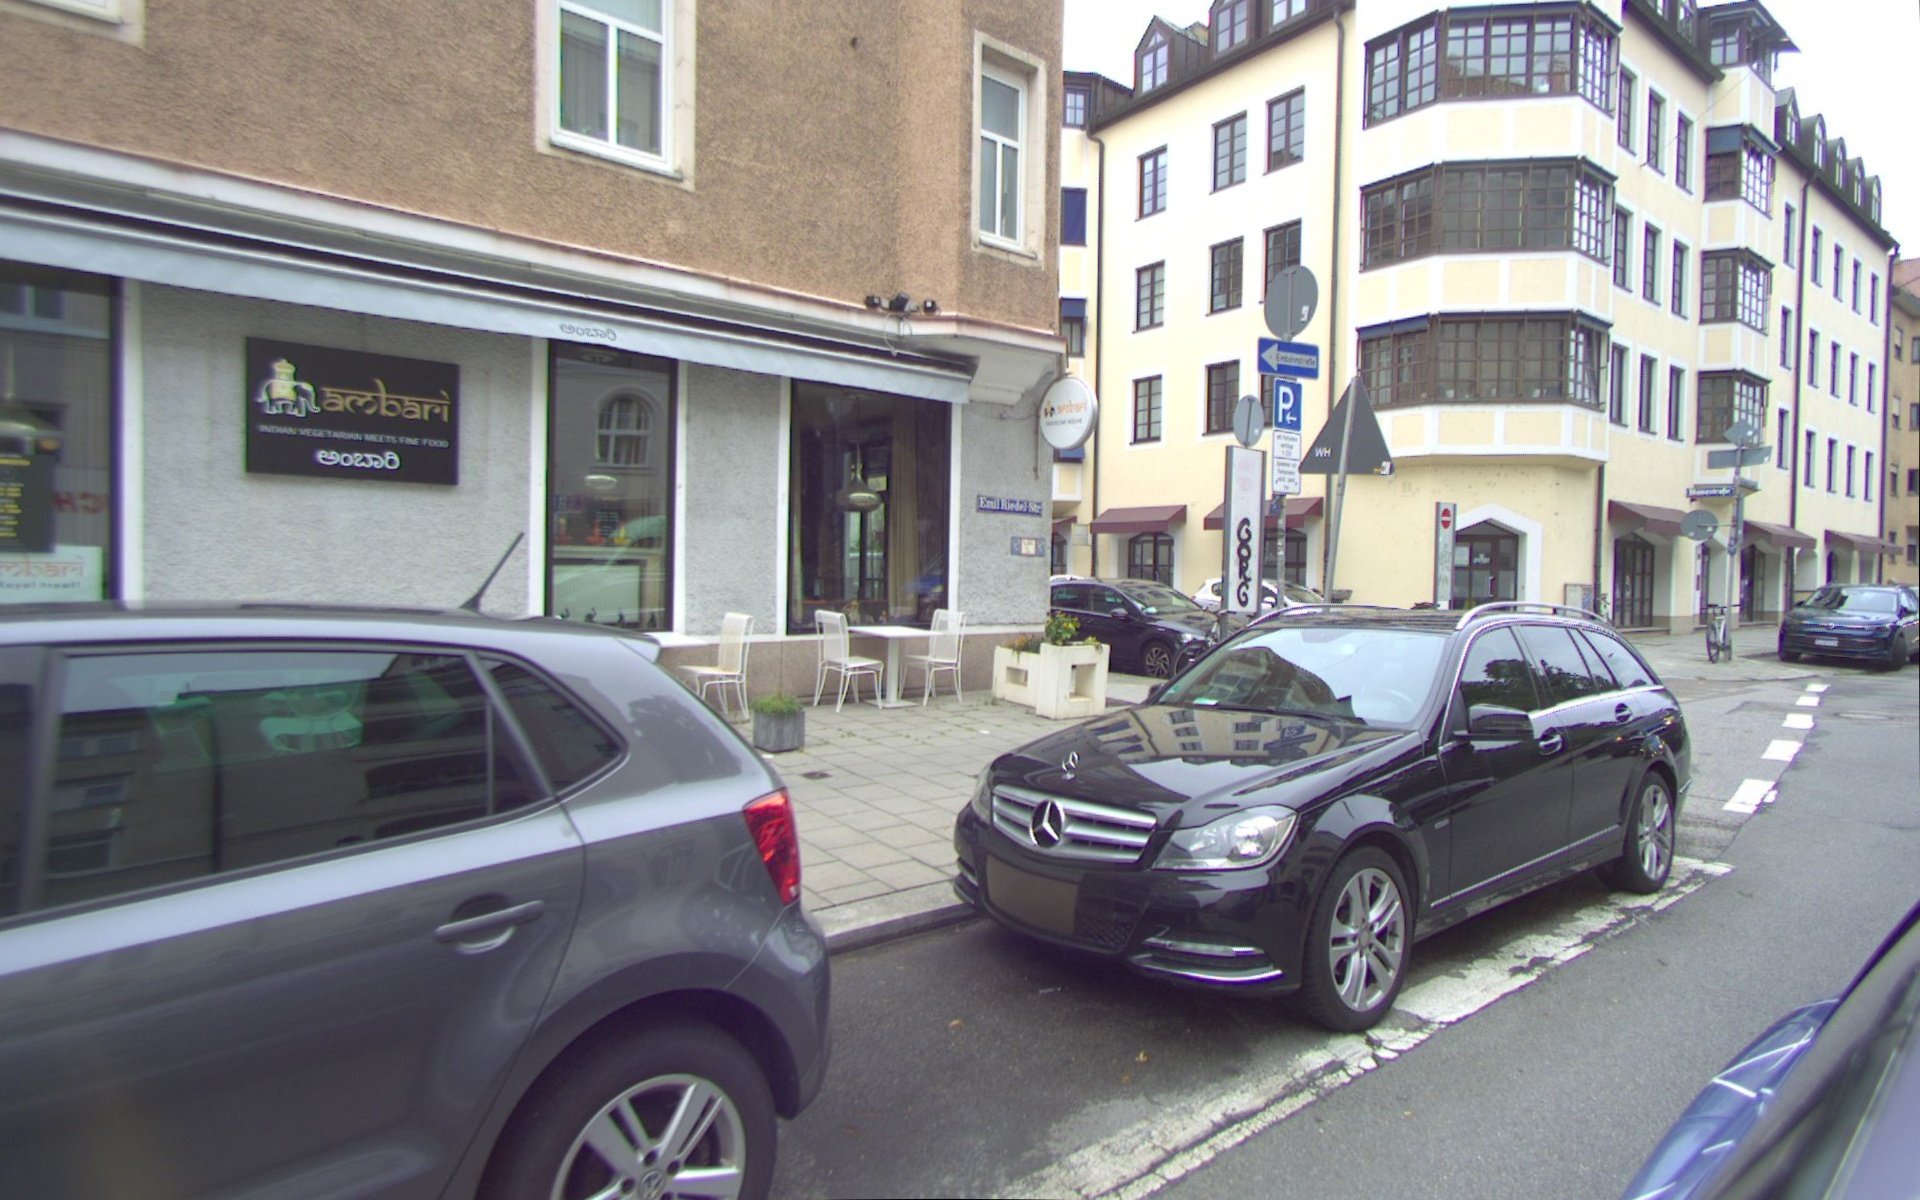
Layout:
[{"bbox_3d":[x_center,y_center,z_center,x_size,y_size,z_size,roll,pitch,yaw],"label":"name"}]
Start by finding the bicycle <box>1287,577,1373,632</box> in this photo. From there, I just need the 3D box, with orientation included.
[{"bbox_3d":[8.694,0.089,23.852,0.506,1.201,1.906,0,2,-37],"label":"bicycle"}]

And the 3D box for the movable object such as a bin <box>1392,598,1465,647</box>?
[{"bbox_3d":[9.381,0.436,20.272,0.671,0.911,1.126,-1,3,-37],"label":"movable object such as a bin"}]

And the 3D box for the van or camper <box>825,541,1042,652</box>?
[{"bbox_3d":[-0.691,-0.177,20.469,1.925,1.942,4.915,-3,4,-36],"label":"van or camper"}]

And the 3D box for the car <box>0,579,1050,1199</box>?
[{"bbox_3d":[-1.846,0.691,1.925,4.108,1.411,1.576,-1,3,-40],"label":"car"}]

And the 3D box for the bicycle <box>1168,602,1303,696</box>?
[{"bbox_3d":[3.275,0.557,11.964,1.769,1.017,0.497,1,3,-36],"label":"bicycle"}]

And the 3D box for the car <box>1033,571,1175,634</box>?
[{"bbox_3d":[3.535,0.007,25.396,1.608,1.353,3.458,-1,3,-34],"label":"car"}]

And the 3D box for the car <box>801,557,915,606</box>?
[{"bbox_3d":[-3.606,-0.665,35.025,1.942,1.587,4.430,-1,2,-37],"label":"car"}]

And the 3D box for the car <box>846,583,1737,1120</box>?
[{"bbox_3d":[1.933,0.643,4.919,4.701,1.422,1.851,-1,2,-39],"label":"car"}]

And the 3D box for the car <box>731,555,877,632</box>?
[{"bbox_3d":[-3.910,-0.230,24.821,1.941,1.664,3.998,-1,3,-36],"label":"car"}]

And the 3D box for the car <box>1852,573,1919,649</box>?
[{"bbox_3d":[23.060,0.245,23.973,4.085,1.607,1.821,-1,7,-35],"label":"car"}]

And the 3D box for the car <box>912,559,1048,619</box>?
[{"bbox_3d":[0.518,-0.366,29.402,1.947,1.603,4.029,-1,2,-35],"label":"car"}]

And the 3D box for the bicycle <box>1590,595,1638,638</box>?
[{"bbox_3d":[14.897,0.359,23.048,1.663,0.912,0.263,-1,6,-36],"label":"bicycle"}]

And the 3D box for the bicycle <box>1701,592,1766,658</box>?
[{"bbox_3d":[14.956,0.456,19.549,2.015,1.173,0.431,-1,3,-37],"label":"bicycle"}]

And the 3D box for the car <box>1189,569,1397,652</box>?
[{"bbox_3d":[6.764,0.169,20.892,1.717,1.458,3.749,3,1,-34],"label":"car"}]

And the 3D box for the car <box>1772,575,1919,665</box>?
[{"bbox_3d":[18.840,0.327,21.023,4.414,1.642,2.112,-1,2,-38],"label":"car"}]

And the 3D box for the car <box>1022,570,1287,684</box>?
[{"bbox_3d":[2.950,0.312,16.016,1.858,1.506,3.884,-1,3,-37],"label":"car"}]

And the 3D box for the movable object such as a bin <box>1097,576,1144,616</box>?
[{"bbox_3d":[4.647,-0.134,29.401,0.753,1.094,1.126,-1,3,-37],"label":"movable object such as a bin"}]
